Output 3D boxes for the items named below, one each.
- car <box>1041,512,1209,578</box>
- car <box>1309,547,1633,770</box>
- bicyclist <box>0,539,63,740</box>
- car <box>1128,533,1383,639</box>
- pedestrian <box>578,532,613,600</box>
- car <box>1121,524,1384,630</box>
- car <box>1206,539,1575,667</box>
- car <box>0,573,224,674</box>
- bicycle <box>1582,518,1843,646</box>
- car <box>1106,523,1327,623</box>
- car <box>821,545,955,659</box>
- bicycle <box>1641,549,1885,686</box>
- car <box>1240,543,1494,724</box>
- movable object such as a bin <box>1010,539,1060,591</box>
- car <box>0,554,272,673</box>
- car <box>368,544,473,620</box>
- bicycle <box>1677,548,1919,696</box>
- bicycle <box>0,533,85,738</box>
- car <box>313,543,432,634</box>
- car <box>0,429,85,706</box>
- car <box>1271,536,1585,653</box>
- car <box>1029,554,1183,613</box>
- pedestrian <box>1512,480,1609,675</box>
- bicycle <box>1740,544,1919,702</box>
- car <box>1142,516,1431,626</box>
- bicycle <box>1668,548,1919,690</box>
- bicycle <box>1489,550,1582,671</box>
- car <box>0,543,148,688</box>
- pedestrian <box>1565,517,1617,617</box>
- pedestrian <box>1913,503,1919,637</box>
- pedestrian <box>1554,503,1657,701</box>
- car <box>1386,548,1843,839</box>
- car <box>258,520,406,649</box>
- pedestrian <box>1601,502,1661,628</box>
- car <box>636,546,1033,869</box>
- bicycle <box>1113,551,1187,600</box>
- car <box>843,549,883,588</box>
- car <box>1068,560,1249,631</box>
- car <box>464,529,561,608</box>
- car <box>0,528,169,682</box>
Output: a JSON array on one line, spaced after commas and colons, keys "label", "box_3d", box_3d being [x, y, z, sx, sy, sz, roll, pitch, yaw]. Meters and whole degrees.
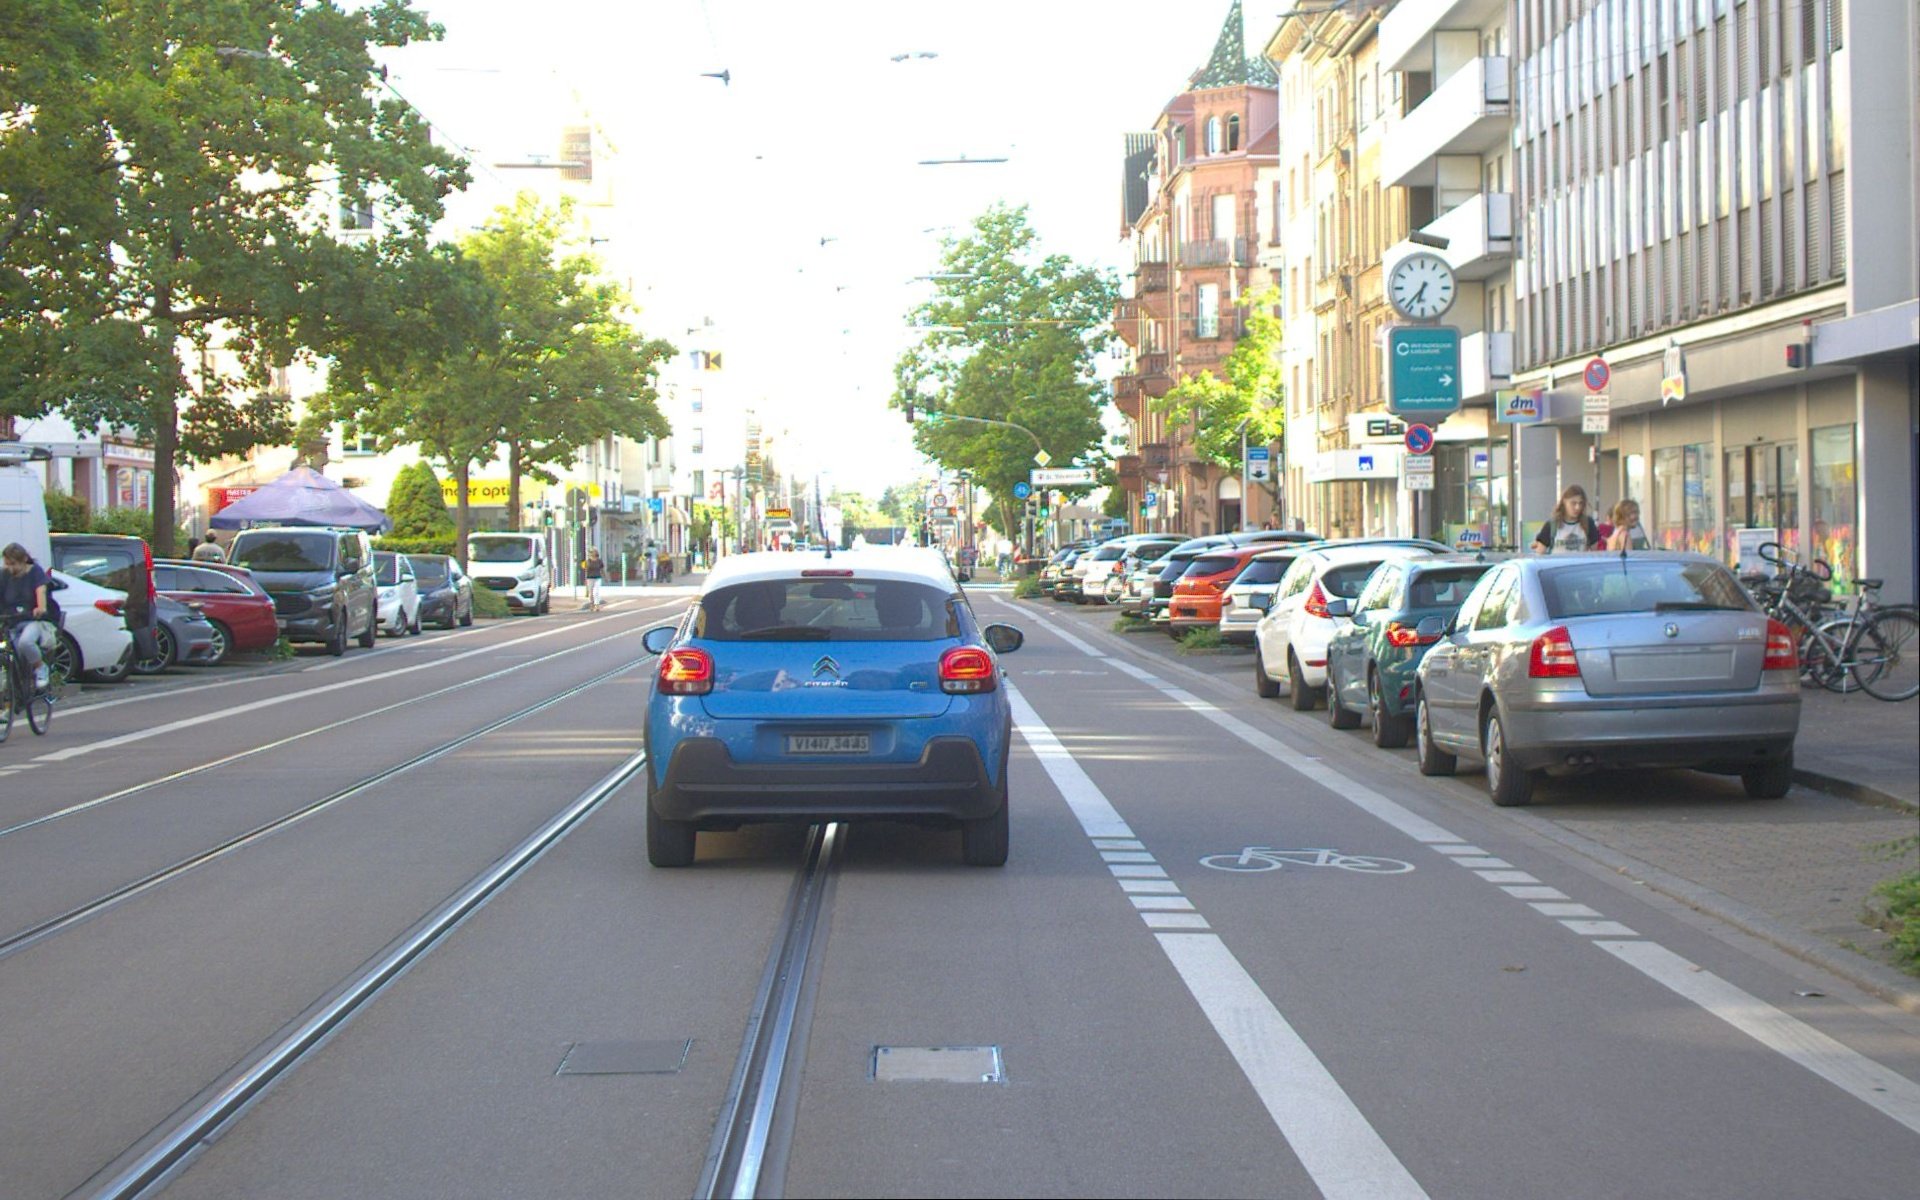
[{"label": "car", "box_3d": [4.009, -1.331, 83.576, 3.653, 1.568, 1.861, 0, 1, -20]}, {"label": "car", "box_3d": [3.850, 0.397, 26.535, 1.873, 1.590, 4.000, 0, 1, 0]}, {"label": "bicyclist", "box_3d": [-7.992, 0.324, 29.045, 0.634, 1.675, 0.727, 0, 0, -1]}, {"label": "car", "box_3d": [4.461, -0.226, 51.837, 3.441, 1.550, 1.824, 0, 1, -32]}, {"label": "pedestrian", "box_3d": [-9.253, -0.859, 87.237, 0.729, 1.720, 0.628, 0, 1, -25]}, {"label": "car", "box_3d": [4.683, -0.375, 54.956, 3.719, 1.646, 2.047, 0, 1, -33]}, {"label": "car", "box_3d": [5.272, 0.015, 41.950, 4.439, 1.503, 1.536, 0, 1, -30]}, {"label": "car", "box_3d": [-11.623, 0.287, 44.590, 3.796, 1.261, 1.516, 0, 1, -26]}, {"label": "bicycle", "box_3d": [7.188, -0.175, 32.911, 2.358, 1.217, 0.664, 0, 1, 3]}, {"label": "car", "box_3d": [4.314, -0.457, 57.717, 3.442, 1.634, 1.684, -1, 1, -37]}, {"label": "car", "box_3d": [-1.018, 0.008, 49.867, 1.873, 1.590, 4.000, 0, 1, 0]}, {"label": "bicycle", "box_3d": [7.184, 0.151, 30.806, 2.019, 1.217, 0.664, 0, 1, -1]}, {"label": "car", "box_3d": [3.741, 0.267, 32.198, 1.873, 1.590, 4.000, 0, 1, 0]}, {"label": "movable object such as a bin", "box_3d": [2.175, -1.007, 99.439, 1.394, 1.478, 1.655, 0, 1, -1]}, {"label": "car", "box_3d": [-11.645, 0.168, 48.018, 3.722, 1.617, 1.789, 0, 1, -22]}, {"label": "car", "box_3d": [-10.872, -0.376, 69.533, 1.747, 1.481, 4.043, 0, 1, -4]}, {"label": "bicycle", "box_3d": [7.316, 0.176, 28.659, 2.538, 1.217, 0.664, 0, 1, -1]}, {"label": "bicycle", "box_3d": [-8.008, 0.274, 29.119, 0.680, 1.673, 2.097, 0, 1, -1]}, {"label": "car", "box_3d": [-10.860, -0.232, 63.774, 1.747, 1.612, 4.411, 0, 1, -4]}, {"label": "car", "box_3d": [-11.514, -0.319, 33.763, 5.370, 2.739, 1.806, 0, 1, -30]}, {"label": "car", "box_3d": [6.174, -0.096, 45.319, 3.774, 1.482, 1.838, 0, 1, -30]}, {"label": "car", "box_3d": [3.825, -0.448, 90.170, 3.653, 1.529, 1.789, 0, 1, -20]}, {"label": "pedestrian", "box_3d": [5.196, -0.198, 29.793, 0.712, 1.666, 0.654, 0, 0, -1]}, {"label": "bicycle", "box_3d": [7.328, 0.169, 27.378, 2.056, 1.217, 0.664, -1, 1, -2]}, {"label": "car", "box_3d": [4.684, -0.425, 49.232, 3.719, 1.515, 1.968, 0, 1, -33]}, {"label": "bicycle", "box_3d": [7.229, 0.162, 29.830, 2.019, 1.217, 0.664, 0, 1, -1]}, {"label": "bicycle", "box_3d": [5.703, 0.097, 34.102, 0.693, 1.181, 1.239, 0, 1, -1]}, {"label": "car", "box_3d": [-11.721, 0.167, 38.644, 4.756, 1.612, 1.712, 0, 1, -33]}, {"label": "pedestrian", "box_3d": [10.070, -0.527, 54.903, 0.692, 1.582, 0.678, 0, 0, -1]}, {"label": "pedestrian", "box_3d": [8.814, -0.073, 30.015, 0.712, 1.601, 0.654, -3, 1, -1]}, {"label": "pedestrian", "box_3d": [5.281, 0.016, 28.150, 0.712, 1.601, 0.654, 0, 0, -1]}, {"label": "car", "box_3d": [3.872, 0.481, 21.151, 1.873, 1.590, 4.719, 0, 1, 0]}, {"label": "car", "box_3d": [-9.958, -0.269, 54.819, 1.747, 1.967, 5.241, 0, 1, -4]}, {"label": "pedestrian", "box_3d": [9.393, -0.490, 48.131, 0.692, 1.750, 0.678, 0, 0, -1]}, {"label": "car", "box_3d": [-0.593, 0.458, 17.073, 1.762, 1.436, 3.557, 0, 1, -1]}, {"label": "bicycle", "box_3d": [4.057, -0.528, 73.445, 0.553, 1.044, 1.807, 0, 1, -36]}, {"label": "car", "box_3d": [-3.620, -1.167, 128.025, 1.423, 1.427, 3.139, 0, 1, 0]}, {"label": "car", "box_3d": [4.482, -0.114, 77.564, 3.654, 1.568, 1.861, 0, 1, -29]}, {"label": "car", "box_3d": [-10.735, -0.768, 82.784, 1.831, 1.841, 4.214, 0, 1, -1]}, {"label": "car", "box_3d": [-11.680, 0.052, 41.238, 3.986, 1.810, 1.713, 0, 1, -26]}]
